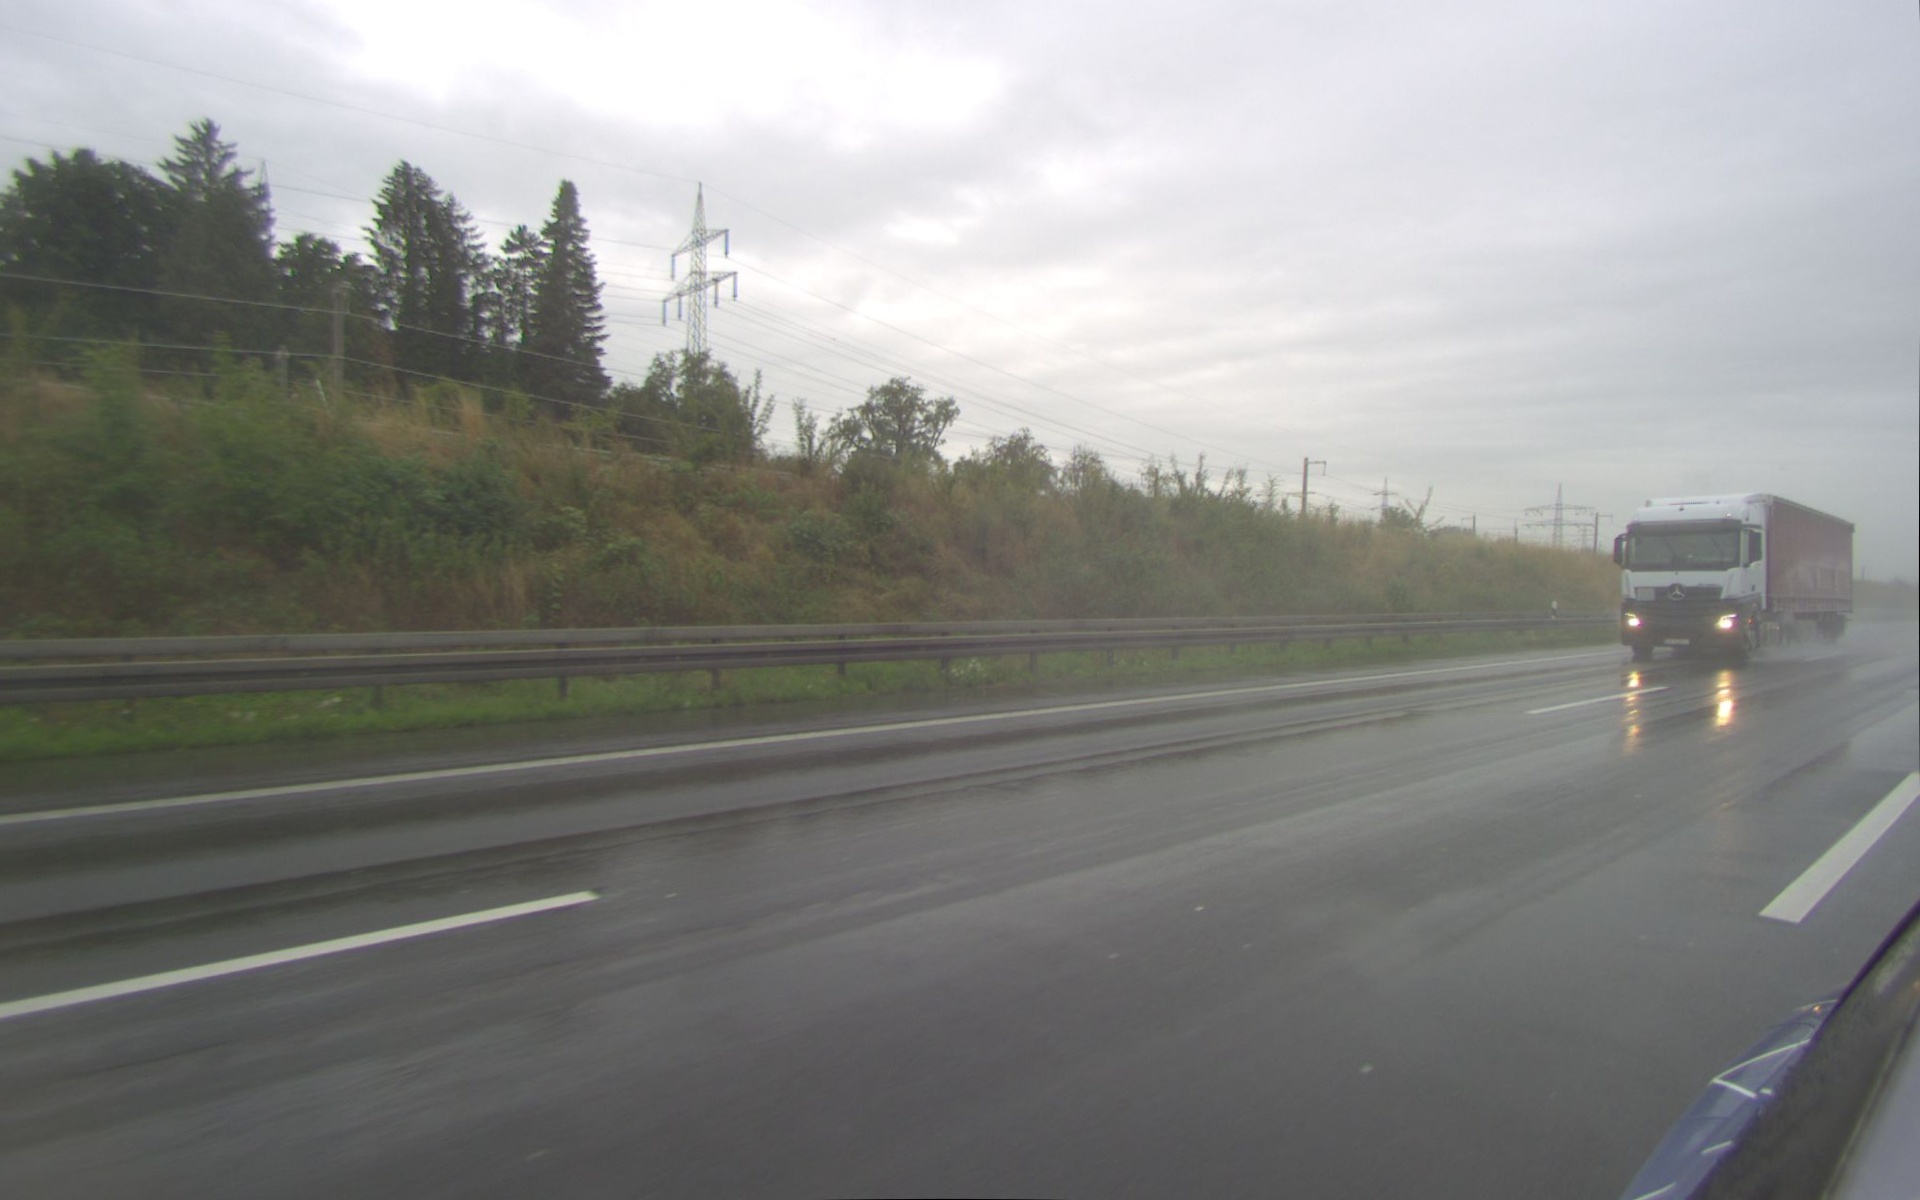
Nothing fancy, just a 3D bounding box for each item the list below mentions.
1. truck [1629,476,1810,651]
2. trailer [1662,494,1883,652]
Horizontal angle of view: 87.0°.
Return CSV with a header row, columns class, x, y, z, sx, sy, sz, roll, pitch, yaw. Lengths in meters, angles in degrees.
class,x,y,z,sx,sy,sz,roll,pitch,yaw
truck,19.366,-0.829,25.674,6.090,3.938,2.456,0,0,-41
trailer,25.229,-0.639,30.816,16.255,3.813,2.484,0,0,-41
